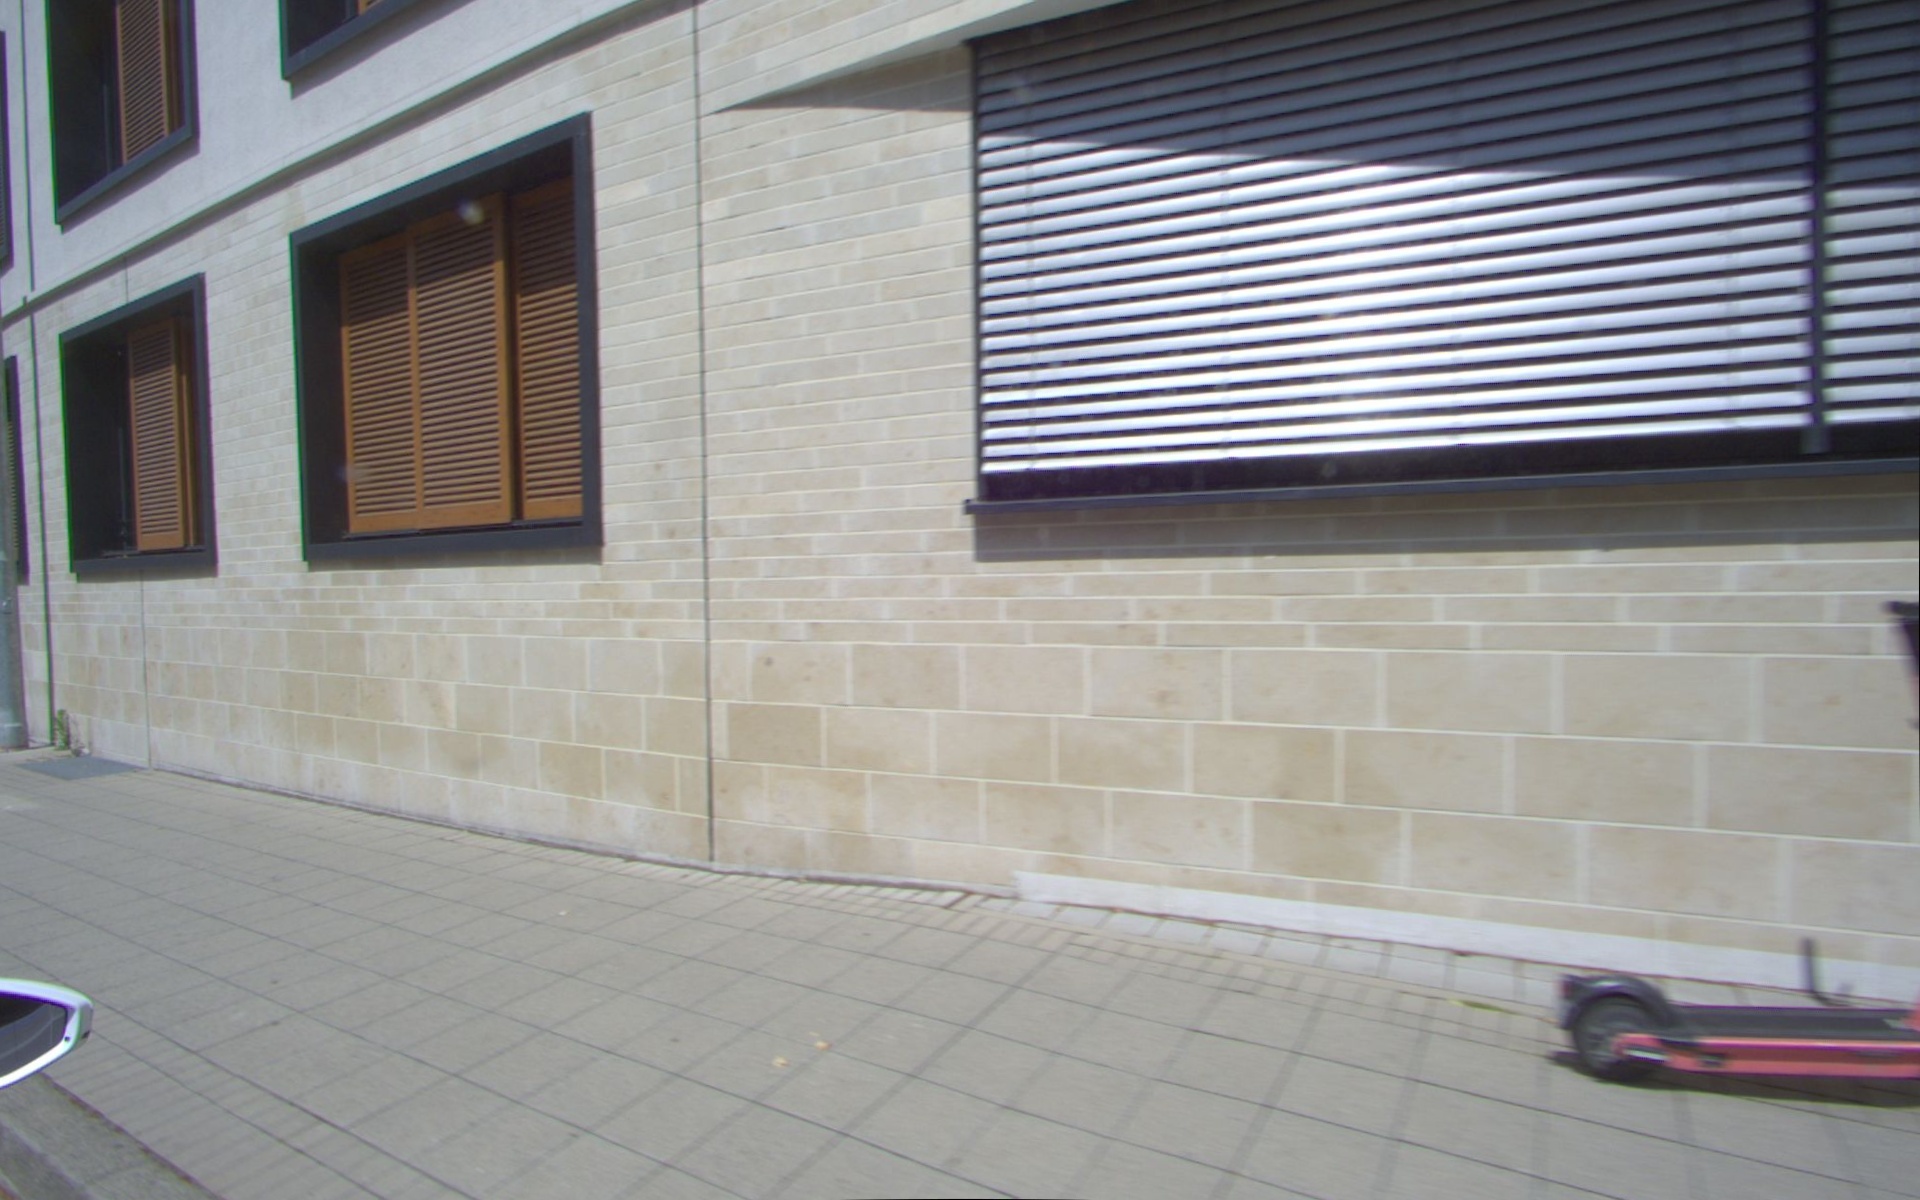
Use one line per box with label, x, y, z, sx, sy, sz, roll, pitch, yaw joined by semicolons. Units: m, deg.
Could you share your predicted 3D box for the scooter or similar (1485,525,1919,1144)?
scooter or similar;2.011;0.477;2.340;1.345;1.278;0.581;-1;3;24
